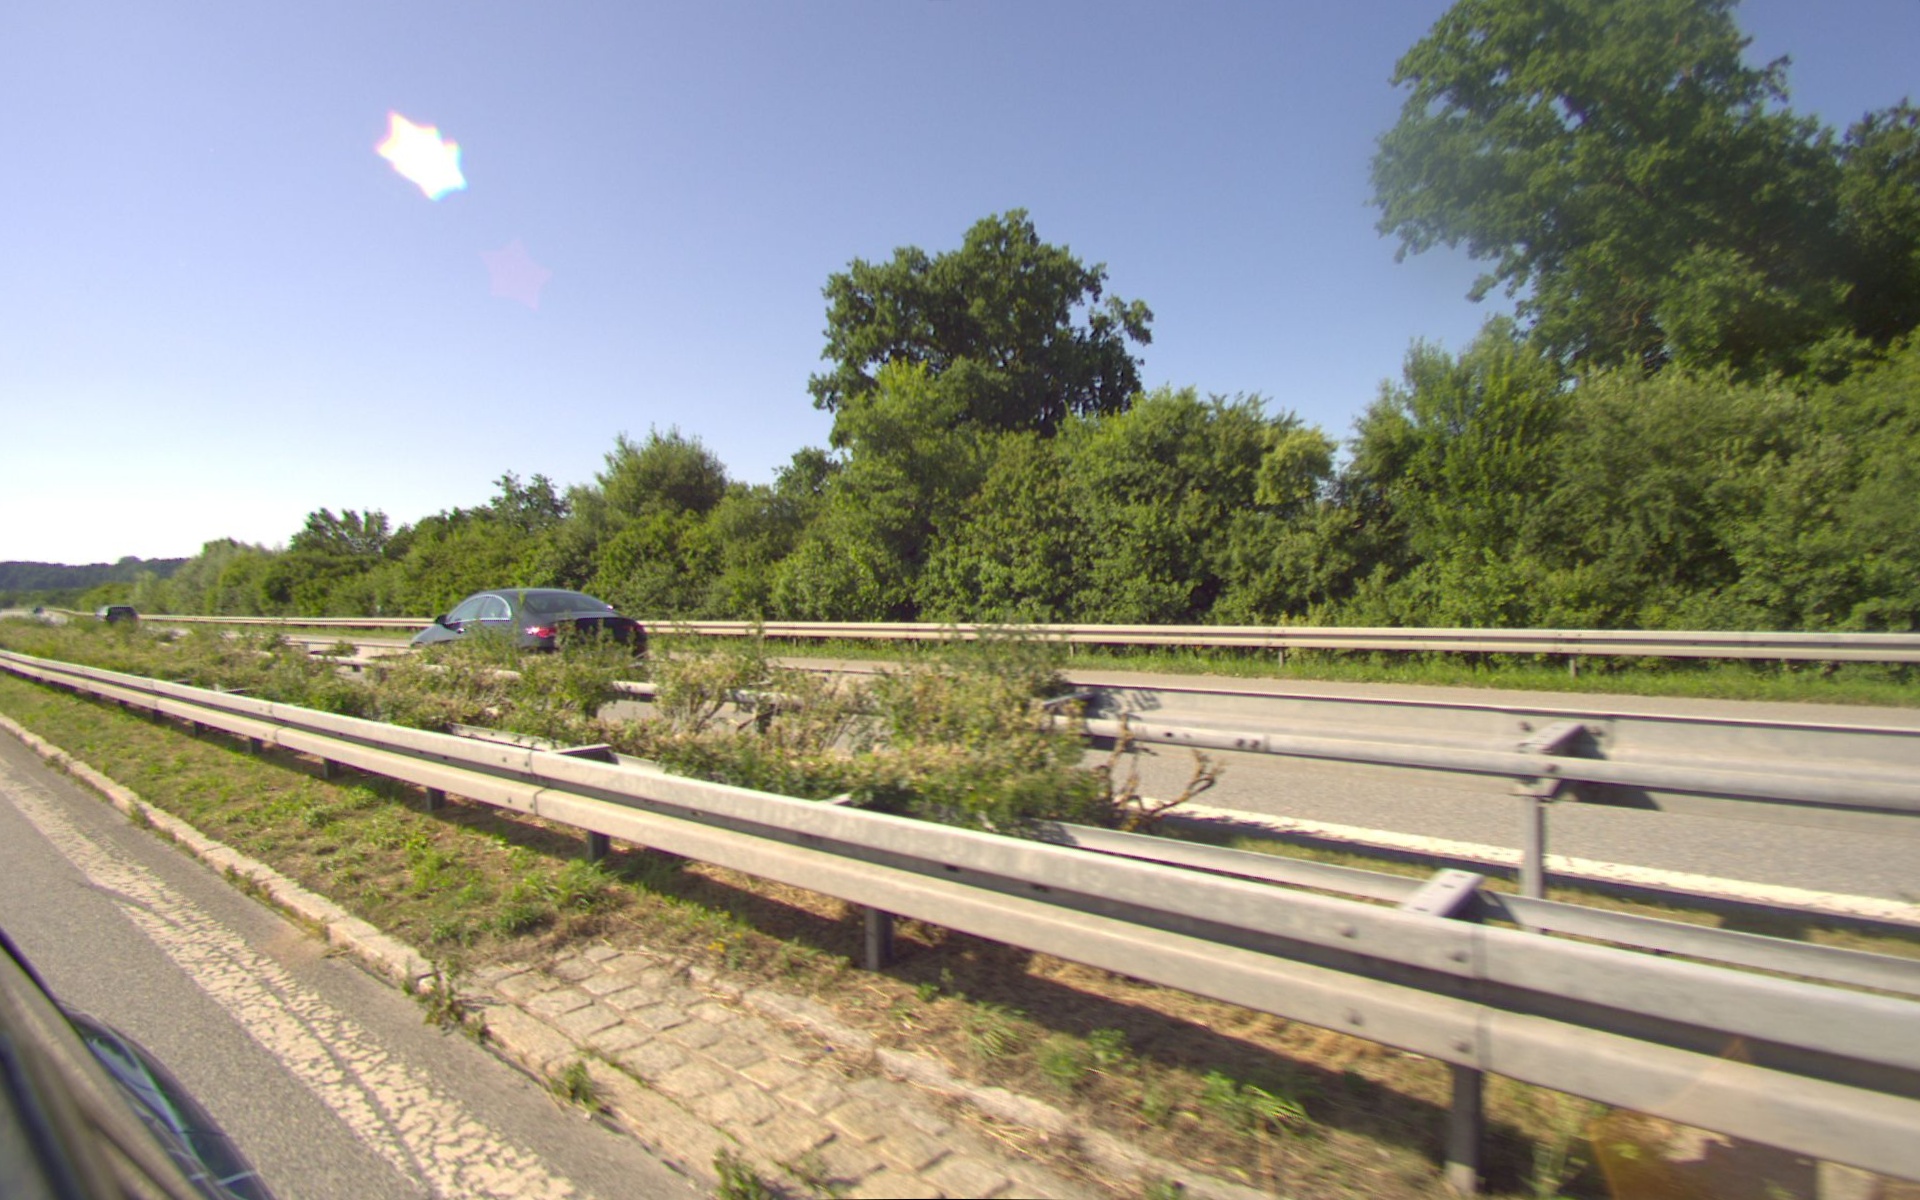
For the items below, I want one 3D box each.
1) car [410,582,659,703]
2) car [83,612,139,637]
[{"bbox_3d":[-5.952,0.534,13.962,3.881,1.439,1.710,-1,-1,43],"label":"car"},{"bbox_3d":[-51.531,1.483,61.393,4.485,1.443,1.972,-1,-1,41],"label":"car"}]
